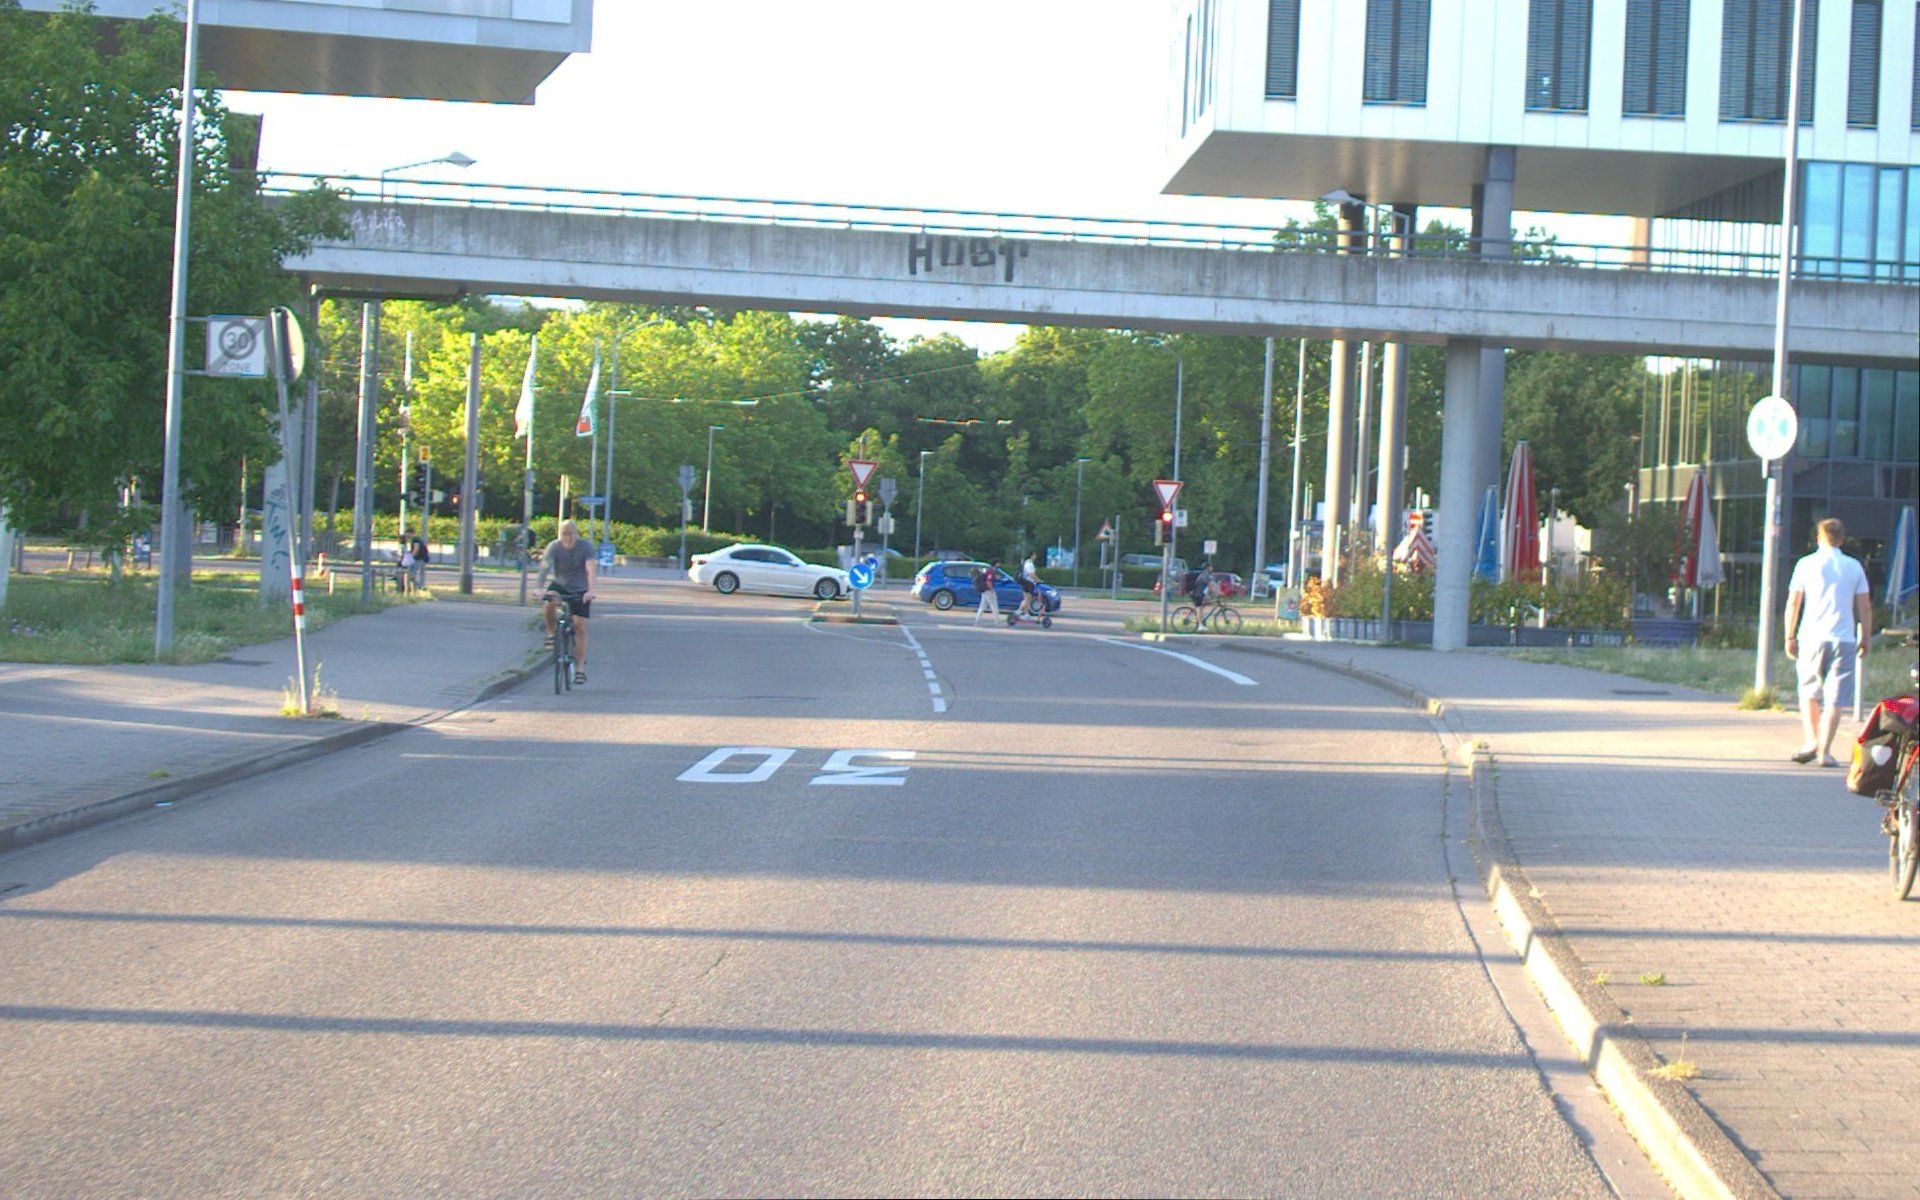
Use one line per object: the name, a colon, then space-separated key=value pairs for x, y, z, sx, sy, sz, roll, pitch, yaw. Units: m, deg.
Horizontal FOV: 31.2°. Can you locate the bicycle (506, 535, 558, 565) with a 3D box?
bicycle: x=-17.269 y=-2.031 z=138.802 sx=1.962 sy=1.124 sz=0.560 roll=2 pitch=2 yaw=-26

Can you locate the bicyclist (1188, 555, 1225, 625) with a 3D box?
bicyclist: x=6.298 y=-0.258 z=87.879 sx=0.861 sy=1.725 sz=0.605 roll=3 pitch=2 yaw=4

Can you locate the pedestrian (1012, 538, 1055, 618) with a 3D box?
pedestrian: x=1.879 y=-0.572 z=88.018 sx=0.908 sy=1.983 sz=0.772 roll=2 pitch=2 yaw=-9

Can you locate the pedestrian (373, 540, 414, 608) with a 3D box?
pedestrian: x=-14.010 y=-0.646 z=85.002 sx=0.686 sy=1.618 sz=0.711 roll=3 pitch=2 yaw=17

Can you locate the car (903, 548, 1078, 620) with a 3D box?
car: x=0.873 y=-0.474 z=99.216 sx=4.712 sy=1.822 sz=1.893 roll=2 pitch=2 yaw=-10

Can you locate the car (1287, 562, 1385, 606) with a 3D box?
car: x=17.688 y=-0.773 z=162.028 sx=4.468 sy=1.810 sz=1.945 roll=3 pitch=2 yaw=5

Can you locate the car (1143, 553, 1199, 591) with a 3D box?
car: x=10.362 y=-1.389 z=168.580 sx=1.499 sy=1.754 sz=3.398 roll=4 pitch=2 yaw=26

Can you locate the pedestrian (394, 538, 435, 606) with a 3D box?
pedestrian: x=-13.596 y=-0.695 z=85.733 sx=0.701 sy=1.658 sz=0.711 roll=3 pitch=2 yaw=17

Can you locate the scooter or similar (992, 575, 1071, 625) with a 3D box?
scooter or similar: x=1.828 y=0.004 z=88.029 sx=1.859 sy=1.170 sz=0.764 roll=2 pitch=2 yaw=-9

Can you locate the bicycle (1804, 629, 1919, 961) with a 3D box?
bicycle: x=3.812 y=0.749 z=13.882 sx=0.450 sy=1.164 sz=1.941 roll=3 pitch=2 yaw=5

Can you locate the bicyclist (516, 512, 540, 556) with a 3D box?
bicyclist: x=-17.422 y=-2.667 z=138.677 sx=0.756 sy=1.717 sz=0.552 roll=2 pitch=2 yaw=-26

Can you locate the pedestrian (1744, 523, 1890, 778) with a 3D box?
pedestrian: x=6.162 y=0.349 z=24.758 sx=0.831 sy=1.760 sz=0.818 roll=3 pitch=2 yaw=7

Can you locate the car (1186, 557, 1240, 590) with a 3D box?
car: x=12.726 y=-1.339 z=172.600 sx=1.499 sy=1.600 sz=3.398 roll=4 pitch=2 yaw=26

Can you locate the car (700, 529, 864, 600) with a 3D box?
car: x=-5.269 y=-1.064 z=102.084 sx=4.687 sy=1.822 sz=1.835 roll=3 pitch=2 yaw=0

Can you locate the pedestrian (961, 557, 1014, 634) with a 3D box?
pedestrian: x=0.673 y=-0.119 z=85.233 sx=1.053 sy=1.827 sz=0.896 roll=2 pitch=2 yaw=-14

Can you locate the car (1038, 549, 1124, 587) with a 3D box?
car: x=6.880 y=-1.845 z=195.666 sx=4.685 sy=1.862 sz=2.012 roll=3 pitch=2 yaw=6

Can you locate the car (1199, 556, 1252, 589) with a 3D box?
car: x=13.604 y=-1.415 z=176.117 sx=1.499 sy=1.600 sz=3.398 roll=4 pitch=2 yaw=26

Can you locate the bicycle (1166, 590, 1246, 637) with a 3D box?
bicycle: x=6.288 y=0.334 z=87.898 sx=1.970 sy=1.088 sz=0.622 roll=3 pitch=2 yaw=3

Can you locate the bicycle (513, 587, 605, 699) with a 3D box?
bicycle: x=-4.112 y=0.426 z=35.355 sx=0.538 sy=1.039 sz=1.925 roll=3 pitch=2 yaw=4

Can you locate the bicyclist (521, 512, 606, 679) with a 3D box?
bicyclist: x=-4.076 y=-0.056 z=35.415 sx=0.615 sy=1.657 sz=1.036 roll=3 pitch=2 yaw=4
